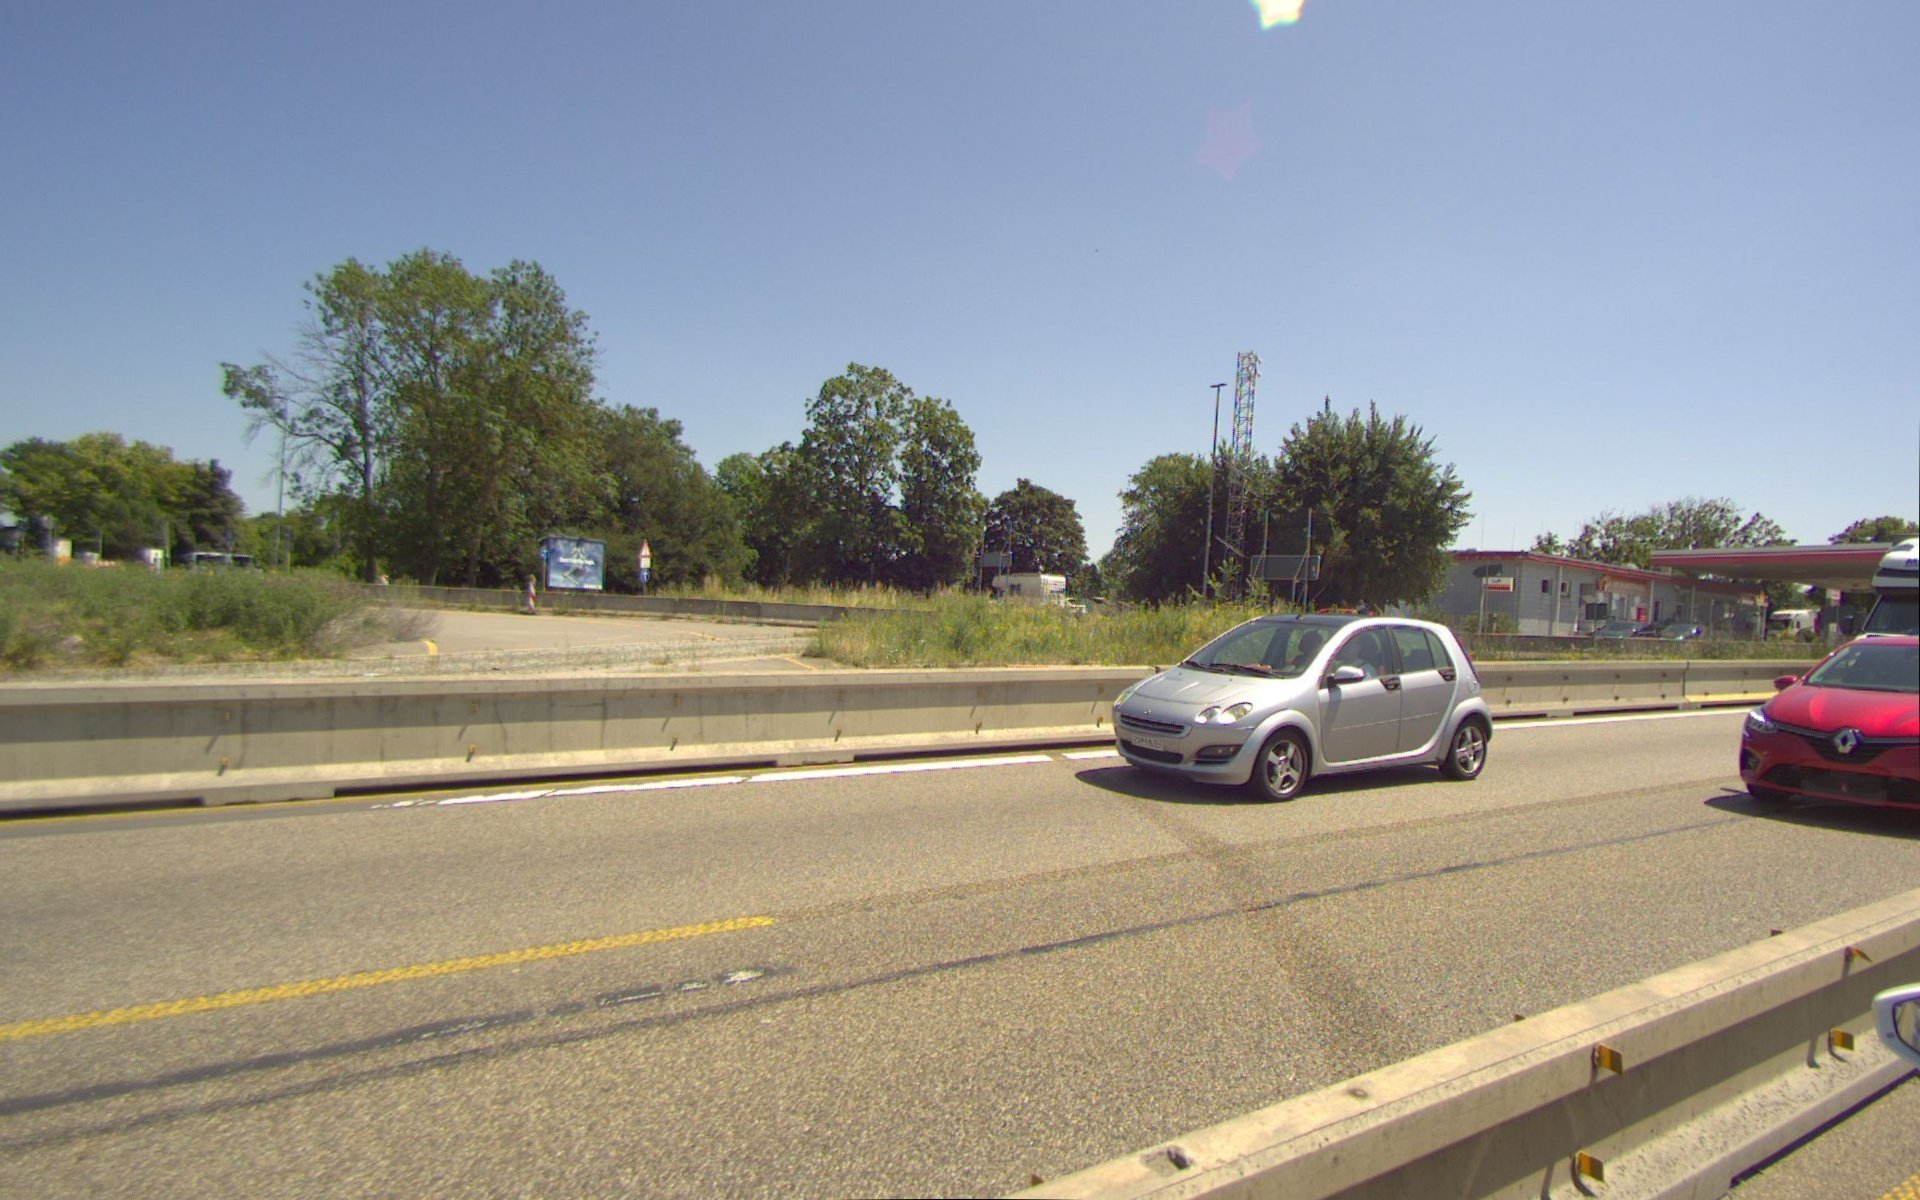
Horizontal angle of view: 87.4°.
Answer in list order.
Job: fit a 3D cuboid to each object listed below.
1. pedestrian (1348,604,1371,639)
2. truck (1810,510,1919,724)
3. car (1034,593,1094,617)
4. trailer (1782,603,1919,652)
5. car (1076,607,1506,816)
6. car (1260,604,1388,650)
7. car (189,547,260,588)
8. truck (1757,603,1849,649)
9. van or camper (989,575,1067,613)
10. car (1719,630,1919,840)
[{"bbox_3d":[14.372,0.772,36.129,0.576,1.221,0.474,1,0,-16],"label":"pedestrian"},{"bbox_3d":[18.563,0.345,18.223,7.626,3.430,2.377,1,1,-31],"label":"truck"},{"bbox_3d":[7.181,0.327,69.683,1.981,1.483,3.960,1,1,-35],"label":"car"},{"bbox_3d":[87.037,2.661,96.514,13.892,4.165,3.159,2,-1,-4],"label":"trailer"},{"bbox_3d":[3.021,0.858,8.982,3.744,1.467,1.614,1,1,-32],"label":"car"},{"bbox_3d":[13.473,0.979,37.317,4.104,1.350,1.503,3,3,-1],"label":"car"},{"bbox_3d":[-40.003,-1.771,54.747,1.969,2.041,3.983,2,1,-18],"label":"car"},{"bbox_3d":[80.603,2.488,96.079,6.225,4.038,3.159,2,-1,-4],"label":"truck"},{"bbox_3d":[4.502,-0.402,67.454,2.425,2.430,5.170,1,0,-36],"label":"van or camper"},{"bbox_3d":[8.332,1.025,8.561,3.955,1.453,1.640,1,0,-31],"label":"car"}]
